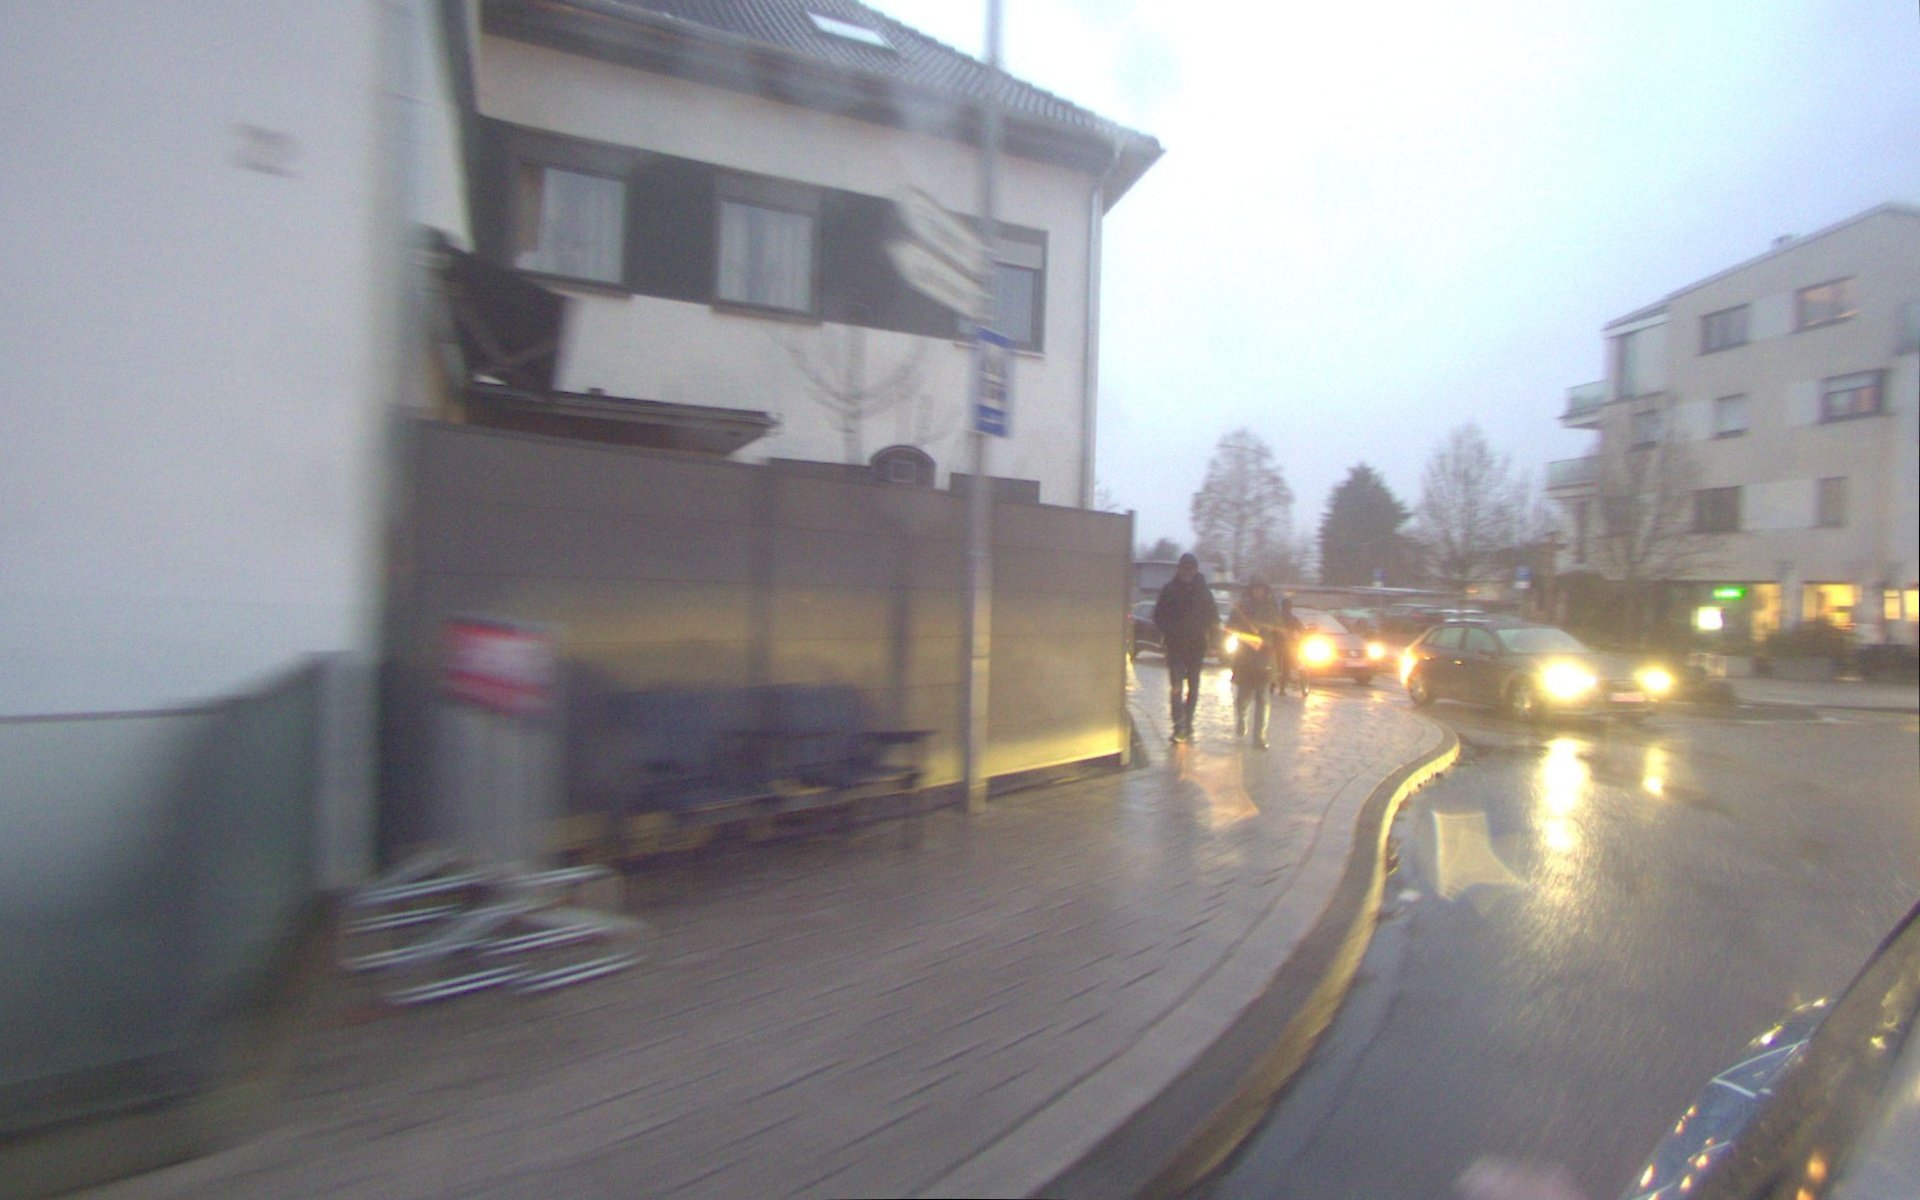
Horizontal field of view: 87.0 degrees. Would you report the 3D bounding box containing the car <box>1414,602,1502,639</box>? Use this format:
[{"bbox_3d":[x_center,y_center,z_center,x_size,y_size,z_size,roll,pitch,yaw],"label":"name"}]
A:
[{"bbox_3d":[22.362,0.885,45.585,1.487,1.492,3.452,2,0,-20],"label":"car"}]

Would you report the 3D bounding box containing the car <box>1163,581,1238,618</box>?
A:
[{"bbox_3d":[13.990,-0.053,59.162,2.167,2.039,4.869,2,0,-15],"label":"car"}]

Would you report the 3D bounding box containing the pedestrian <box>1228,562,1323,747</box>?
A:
[{"bbox_3d":[2.961,0.490,9.557,0.571,1.641,0.717,4,0,1],"label":"pedestrian"}]

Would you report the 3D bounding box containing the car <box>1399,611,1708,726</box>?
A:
[{"bbox_3d":[8.616,0.902,15.221,1.813,1.401,4.240,0,0,-6],"label":"car"}]

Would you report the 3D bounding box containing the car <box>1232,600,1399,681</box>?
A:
[{"bbox_3d":[7.577,0.807,21.980,1.662,1.572,4.006,1,0,-10],"label":"car"}]

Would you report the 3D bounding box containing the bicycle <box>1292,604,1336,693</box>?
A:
[{"bbox_3d":[5.713,0.751,16.307,0.545,1.312,1.929,4,0,20],"label":"bicycle"}]

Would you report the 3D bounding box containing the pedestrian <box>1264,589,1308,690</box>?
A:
[{"bbox_3d":[5.330,0.635,16.540,0.602,1.584,0.687,3,0,20],"label":"pedestrian"}]

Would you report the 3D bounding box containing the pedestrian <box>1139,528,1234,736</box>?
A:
[{"bbox_3d":[2.132,0.289,9.595,0.625,1.855,0.717,4,0,1],"label":"pedestrian"}]

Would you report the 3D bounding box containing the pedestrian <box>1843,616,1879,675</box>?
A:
[{"bbox_3d":[23.359,1.173,26.246,0.541,1.473,0.453,2,0,-21],"label":"pedestrian"}]

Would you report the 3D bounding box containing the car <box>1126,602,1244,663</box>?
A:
[{"bbox_3d":[6.261,0.861,28.662,1.661,1.527,4.265,1,0,-11],"label":"car"}]

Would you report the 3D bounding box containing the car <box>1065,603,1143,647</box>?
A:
[{"bbox_3d":[5.011,0.850,35.777,1.531,1.346,3.685,2,0,-11],"label":"car"}]

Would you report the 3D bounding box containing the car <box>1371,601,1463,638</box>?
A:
[{"bbox_3d":[20.072,0.827,44.588,1.679,1.535,3.775,2,0,-15],"label":"car"}]
